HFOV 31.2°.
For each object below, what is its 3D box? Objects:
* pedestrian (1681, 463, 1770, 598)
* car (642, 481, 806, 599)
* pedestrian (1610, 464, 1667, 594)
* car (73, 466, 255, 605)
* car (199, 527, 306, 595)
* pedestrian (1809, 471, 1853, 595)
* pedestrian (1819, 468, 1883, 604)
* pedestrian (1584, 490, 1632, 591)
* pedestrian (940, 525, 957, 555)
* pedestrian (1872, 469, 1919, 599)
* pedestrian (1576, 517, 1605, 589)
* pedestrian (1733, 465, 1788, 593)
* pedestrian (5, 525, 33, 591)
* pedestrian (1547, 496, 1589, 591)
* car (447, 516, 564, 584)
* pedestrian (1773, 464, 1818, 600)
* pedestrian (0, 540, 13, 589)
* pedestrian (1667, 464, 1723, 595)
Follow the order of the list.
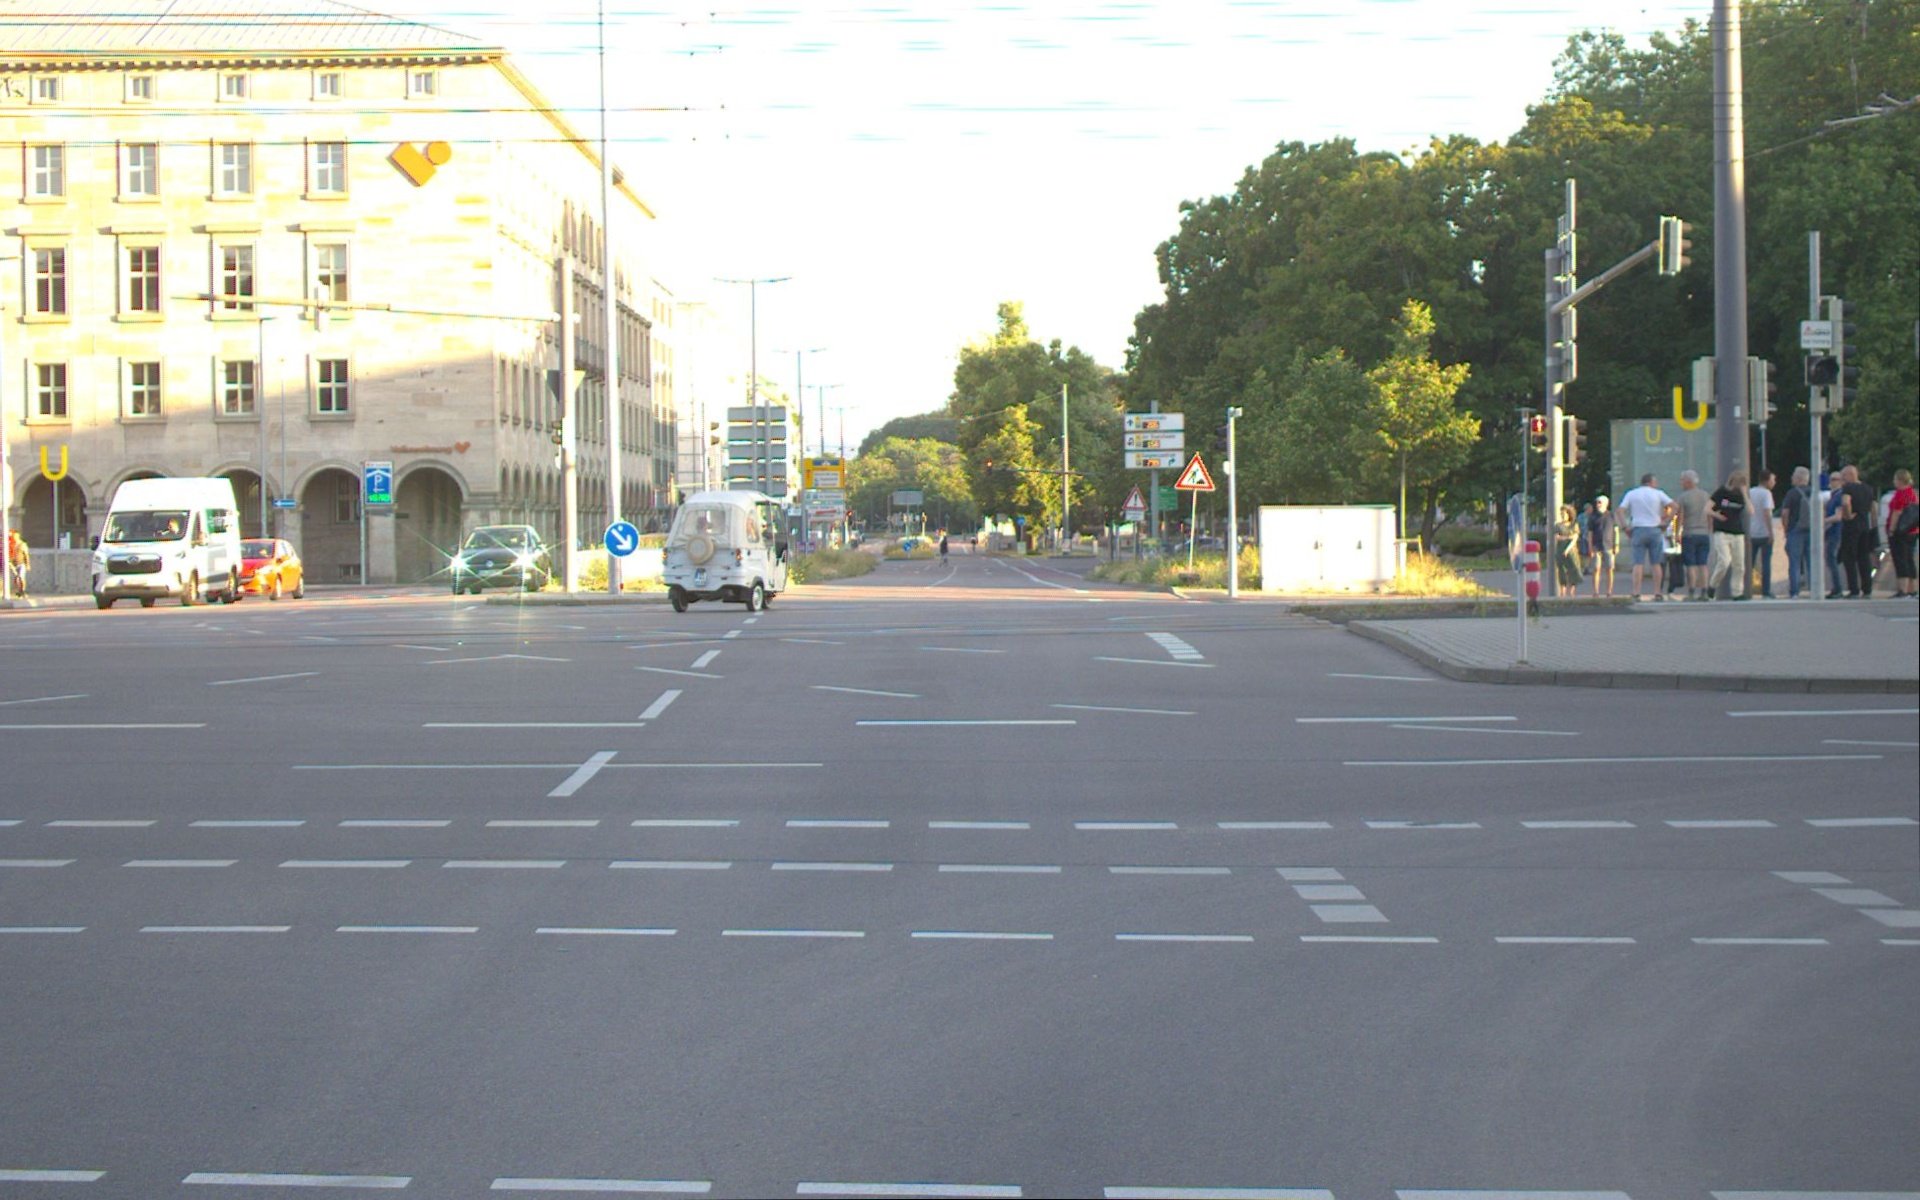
[{"bbox_3d":[9.920,-0.903,44.524,0.914,1.719,0.712,1,2,36],"label":"pedestrian"},{"bbox_3d":[-3.456,-0.901,50.782,1.484,1.690,2.972,0,2,16],"label":"car"},{"bbox_3d":[9.045,-0.952,45.831,0.711,1.719,0.668,0,2,14],"label":"pedestrian"},{"bbox_3d":[-16.696,-1.387,72.475,2.279,2.766,6.084,-1,2,1],"label":"car"},{"bbox_3d":[-16.678,-0.935,81.179,1.738,1.482,4.001,-1,2,-1],"label":"car"},{"bbox_3d":[11.938,-0.921,47.123,0.572,1.673,0.638,0,2,14],"label":"pedestrian"},{"bbox_3d":[11.835,-0.853,45.671,0.805,1.785,0.800,0,2,14],"label":"pedestrian"},{"bbox_3d":[11.416,-1.055,60.590,0.680,1.751,0.901,0,2,20],"label":"pedestrian"},{"bbox_3d":[-0.632,-3.427,194.712,0.906,1.665,1.307,-1,2,-1],"label":"pedestrian"},{"bbox_3d":[12.670,-0.888,46.006,0.845,1.728,0.705,0,2,12],"label":"pedestrian"},{"bbox_3d":[16.222,-1.209,88.495,0.666,1.836,0.713,-1,2,5],"label":"pedestrian"},{"bbox_3d":[10.840,-0.964,46.543,0.711,1.719,0.914,0,2,13],"label":"pedestrian"},{"bbox_3d":[-25.041,-1.115,91.458,0.621,1.738,0.460,1,0,-5],"label":"pedestrian"},{"bbox_3d":[10.726,-1.006,60.653,0.560,1.649,0.901,0,2,20],"label":"pedestrian"},{"bbox_3d":[-9.559,-1.077,72.629,1.823,1.337,4.000,-1,2,2],"label":"car"},{"bbox_3d":[11.092,-0.905,45.662,0.572,1.785,0.638,0,2,14],"label":"pedestrian"},{"bbox_3d":[-25.148,-0.933,90.306,0.420,1.296,0.460,1,0,-5],"label":"pedestrian"},{"bbox_3d":[9.762,-0.940,45.652,0.711,1.719,0.668,0,2,13],"label":"pedestrian"}]
